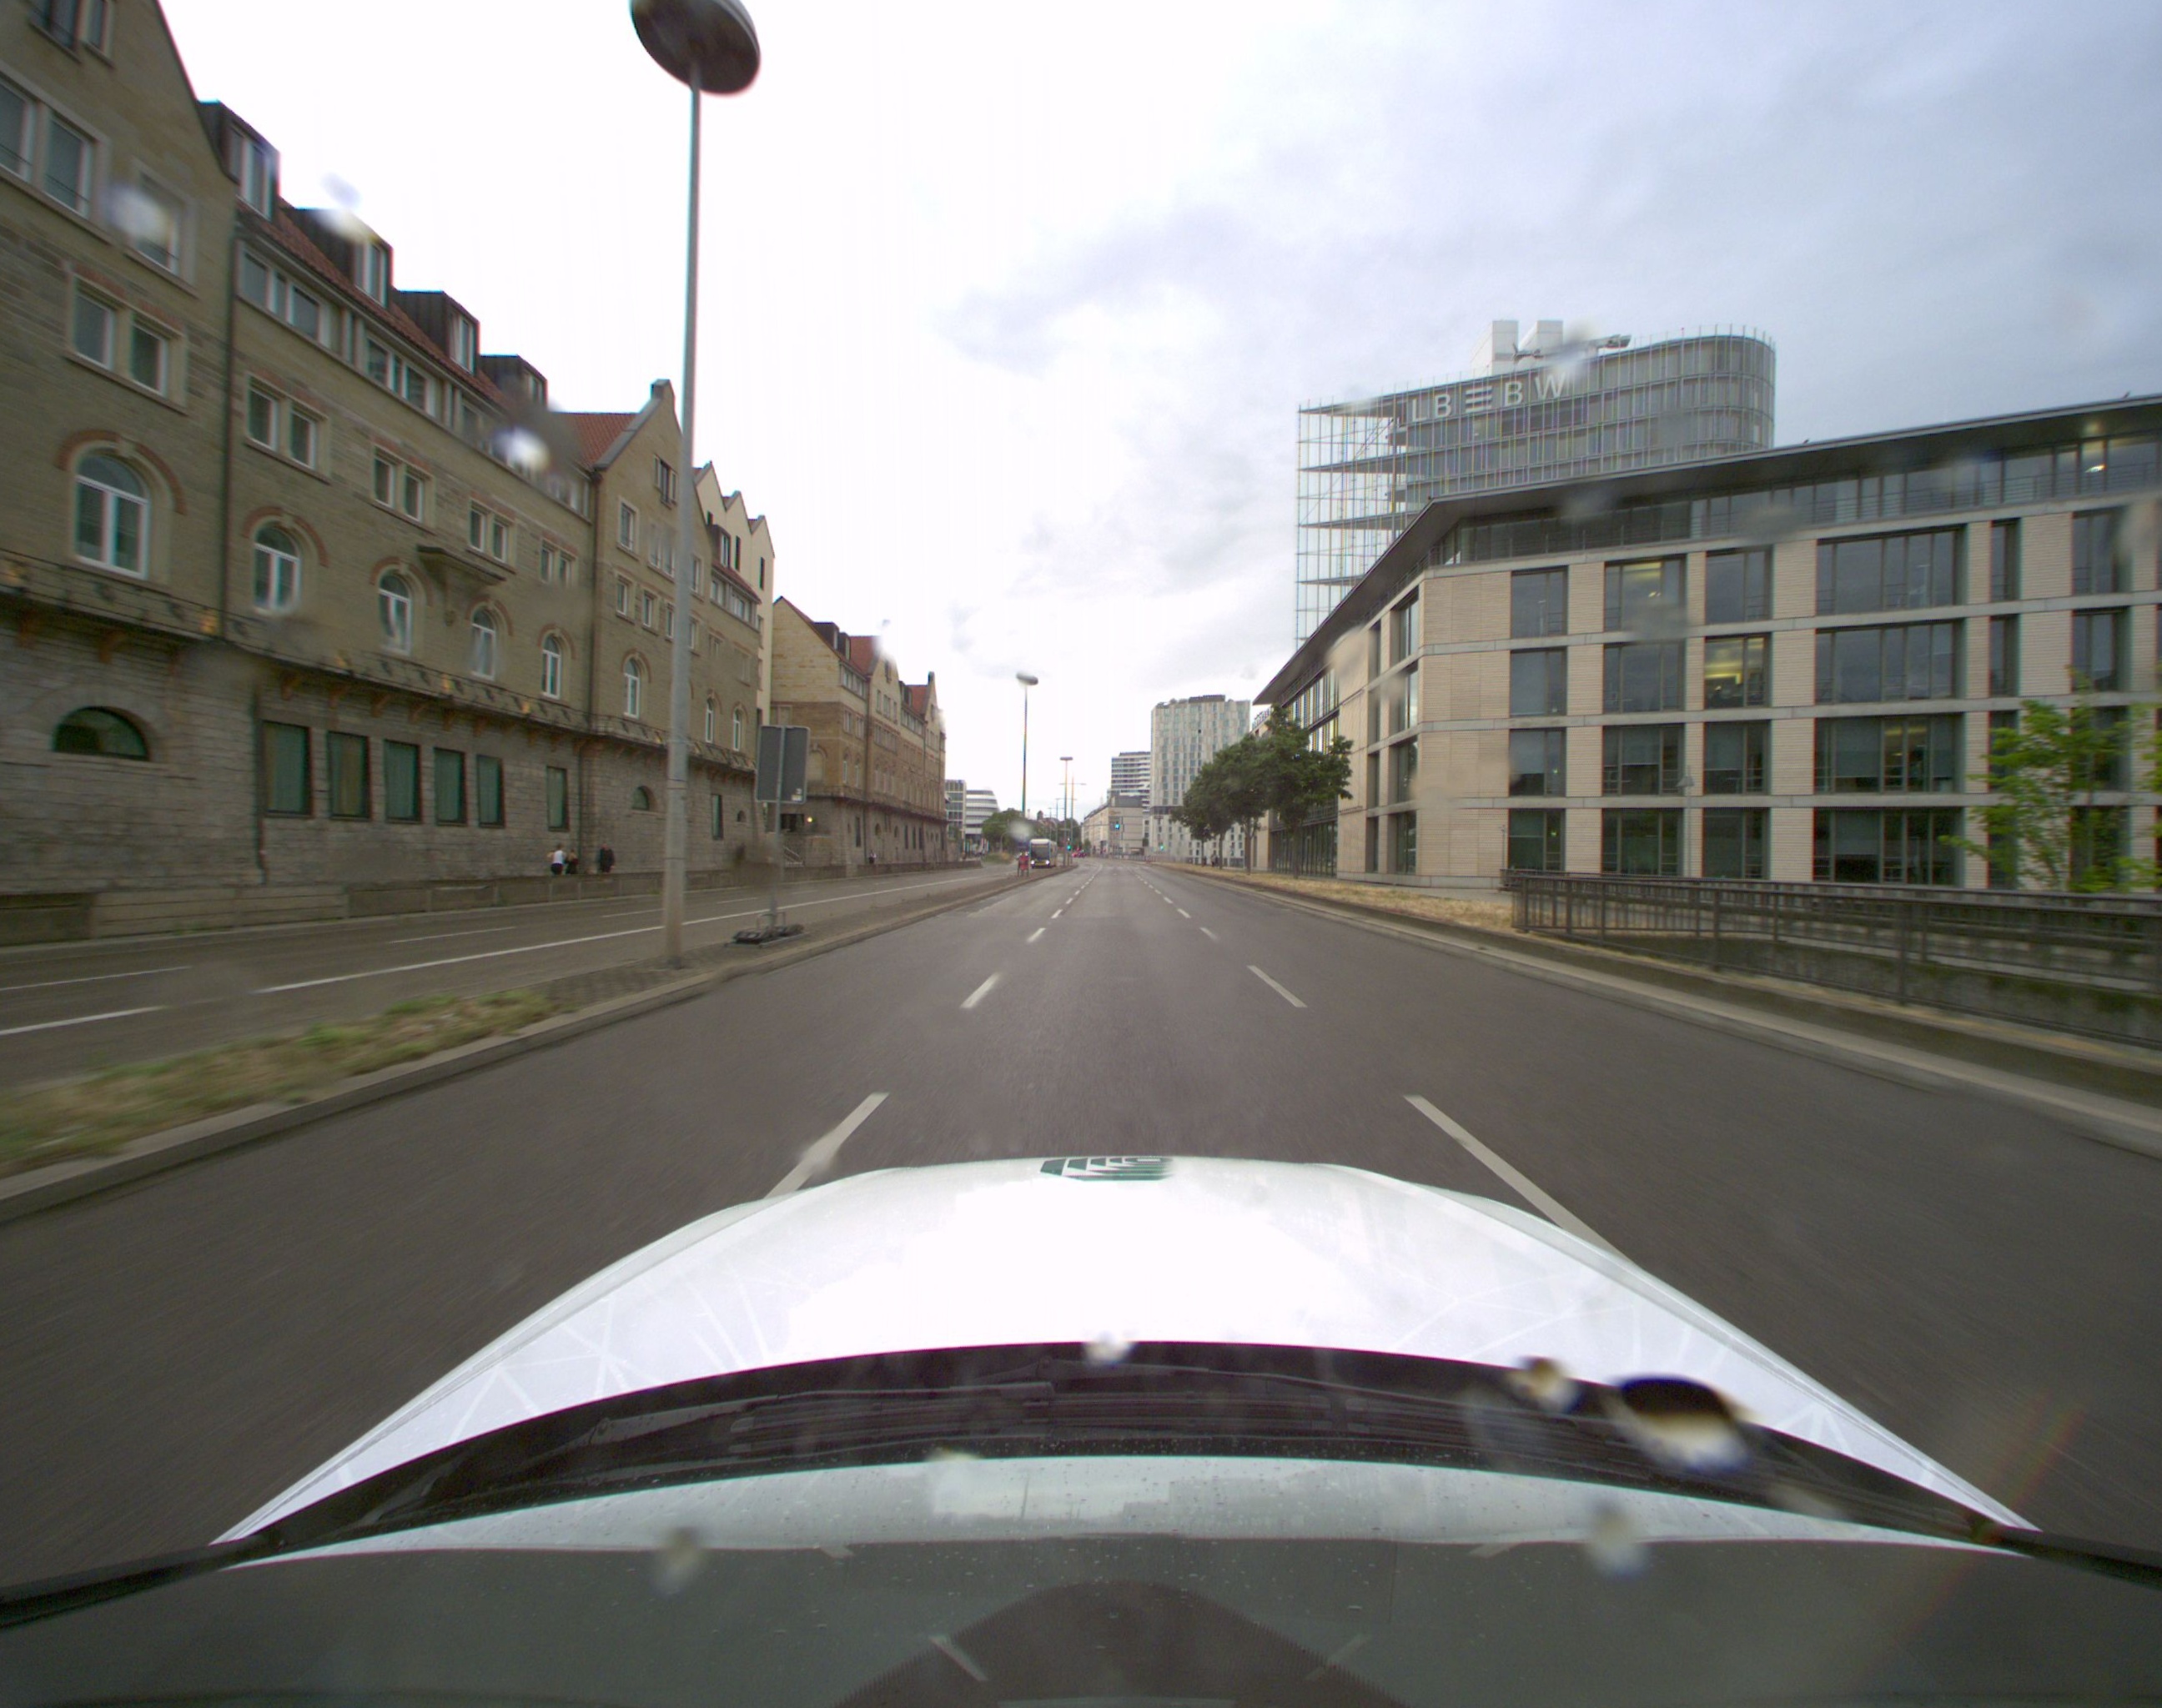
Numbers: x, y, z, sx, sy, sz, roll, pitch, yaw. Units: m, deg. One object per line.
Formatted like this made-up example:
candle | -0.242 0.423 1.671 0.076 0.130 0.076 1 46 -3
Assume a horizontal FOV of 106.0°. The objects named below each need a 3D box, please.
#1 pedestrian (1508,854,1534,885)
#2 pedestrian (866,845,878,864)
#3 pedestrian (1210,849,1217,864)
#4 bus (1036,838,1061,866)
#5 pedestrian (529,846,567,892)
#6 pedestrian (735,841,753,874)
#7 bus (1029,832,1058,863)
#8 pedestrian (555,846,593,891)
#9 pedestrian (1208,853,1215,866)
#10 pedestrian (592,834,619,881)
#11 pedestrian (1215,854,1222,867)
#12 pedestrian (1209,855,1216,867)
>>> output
pedestrian | 19.806 0.693 36.674 0.868 1.340 0.974 0 0 20
pedestrian | -16.639 0.008 64.780 0.751 1.477 0.714 0 1 1
pedestrian | 16.873 0.355 103.793 0.787 1.841 0.545 -1 1 -42
bus | -4.289 -0.292 110.874 2.688 3.559 10.097 0 0 2
pedestrian | -17.623 0.479 26.952 0.751 1.477 0.714 0 1 1
pedestrian | -17.681 0.177 42.714 0.639 1.745 0.620 0 1 -2
bus | -4.525 -0.719 99.945 2.688 3.559 10.097 0 0 2
pedestrian | -16.818 0.477 27.031 0.751 1.477 0.714 0 1 1
pedestrian | 16.638 0.690 103.818 0.544 1.577 0.675 0 2 36
pedestrian | -18.132 0.122 31.075 0.638 1.745 0.621 0 1 0
pedestrian | 17.298 0.838 102.267 0.662 1.578 0.673 0 1 40
pedestrian | 16.409 0.870 101.635 0.544 1.578 0.675 0 1 36
